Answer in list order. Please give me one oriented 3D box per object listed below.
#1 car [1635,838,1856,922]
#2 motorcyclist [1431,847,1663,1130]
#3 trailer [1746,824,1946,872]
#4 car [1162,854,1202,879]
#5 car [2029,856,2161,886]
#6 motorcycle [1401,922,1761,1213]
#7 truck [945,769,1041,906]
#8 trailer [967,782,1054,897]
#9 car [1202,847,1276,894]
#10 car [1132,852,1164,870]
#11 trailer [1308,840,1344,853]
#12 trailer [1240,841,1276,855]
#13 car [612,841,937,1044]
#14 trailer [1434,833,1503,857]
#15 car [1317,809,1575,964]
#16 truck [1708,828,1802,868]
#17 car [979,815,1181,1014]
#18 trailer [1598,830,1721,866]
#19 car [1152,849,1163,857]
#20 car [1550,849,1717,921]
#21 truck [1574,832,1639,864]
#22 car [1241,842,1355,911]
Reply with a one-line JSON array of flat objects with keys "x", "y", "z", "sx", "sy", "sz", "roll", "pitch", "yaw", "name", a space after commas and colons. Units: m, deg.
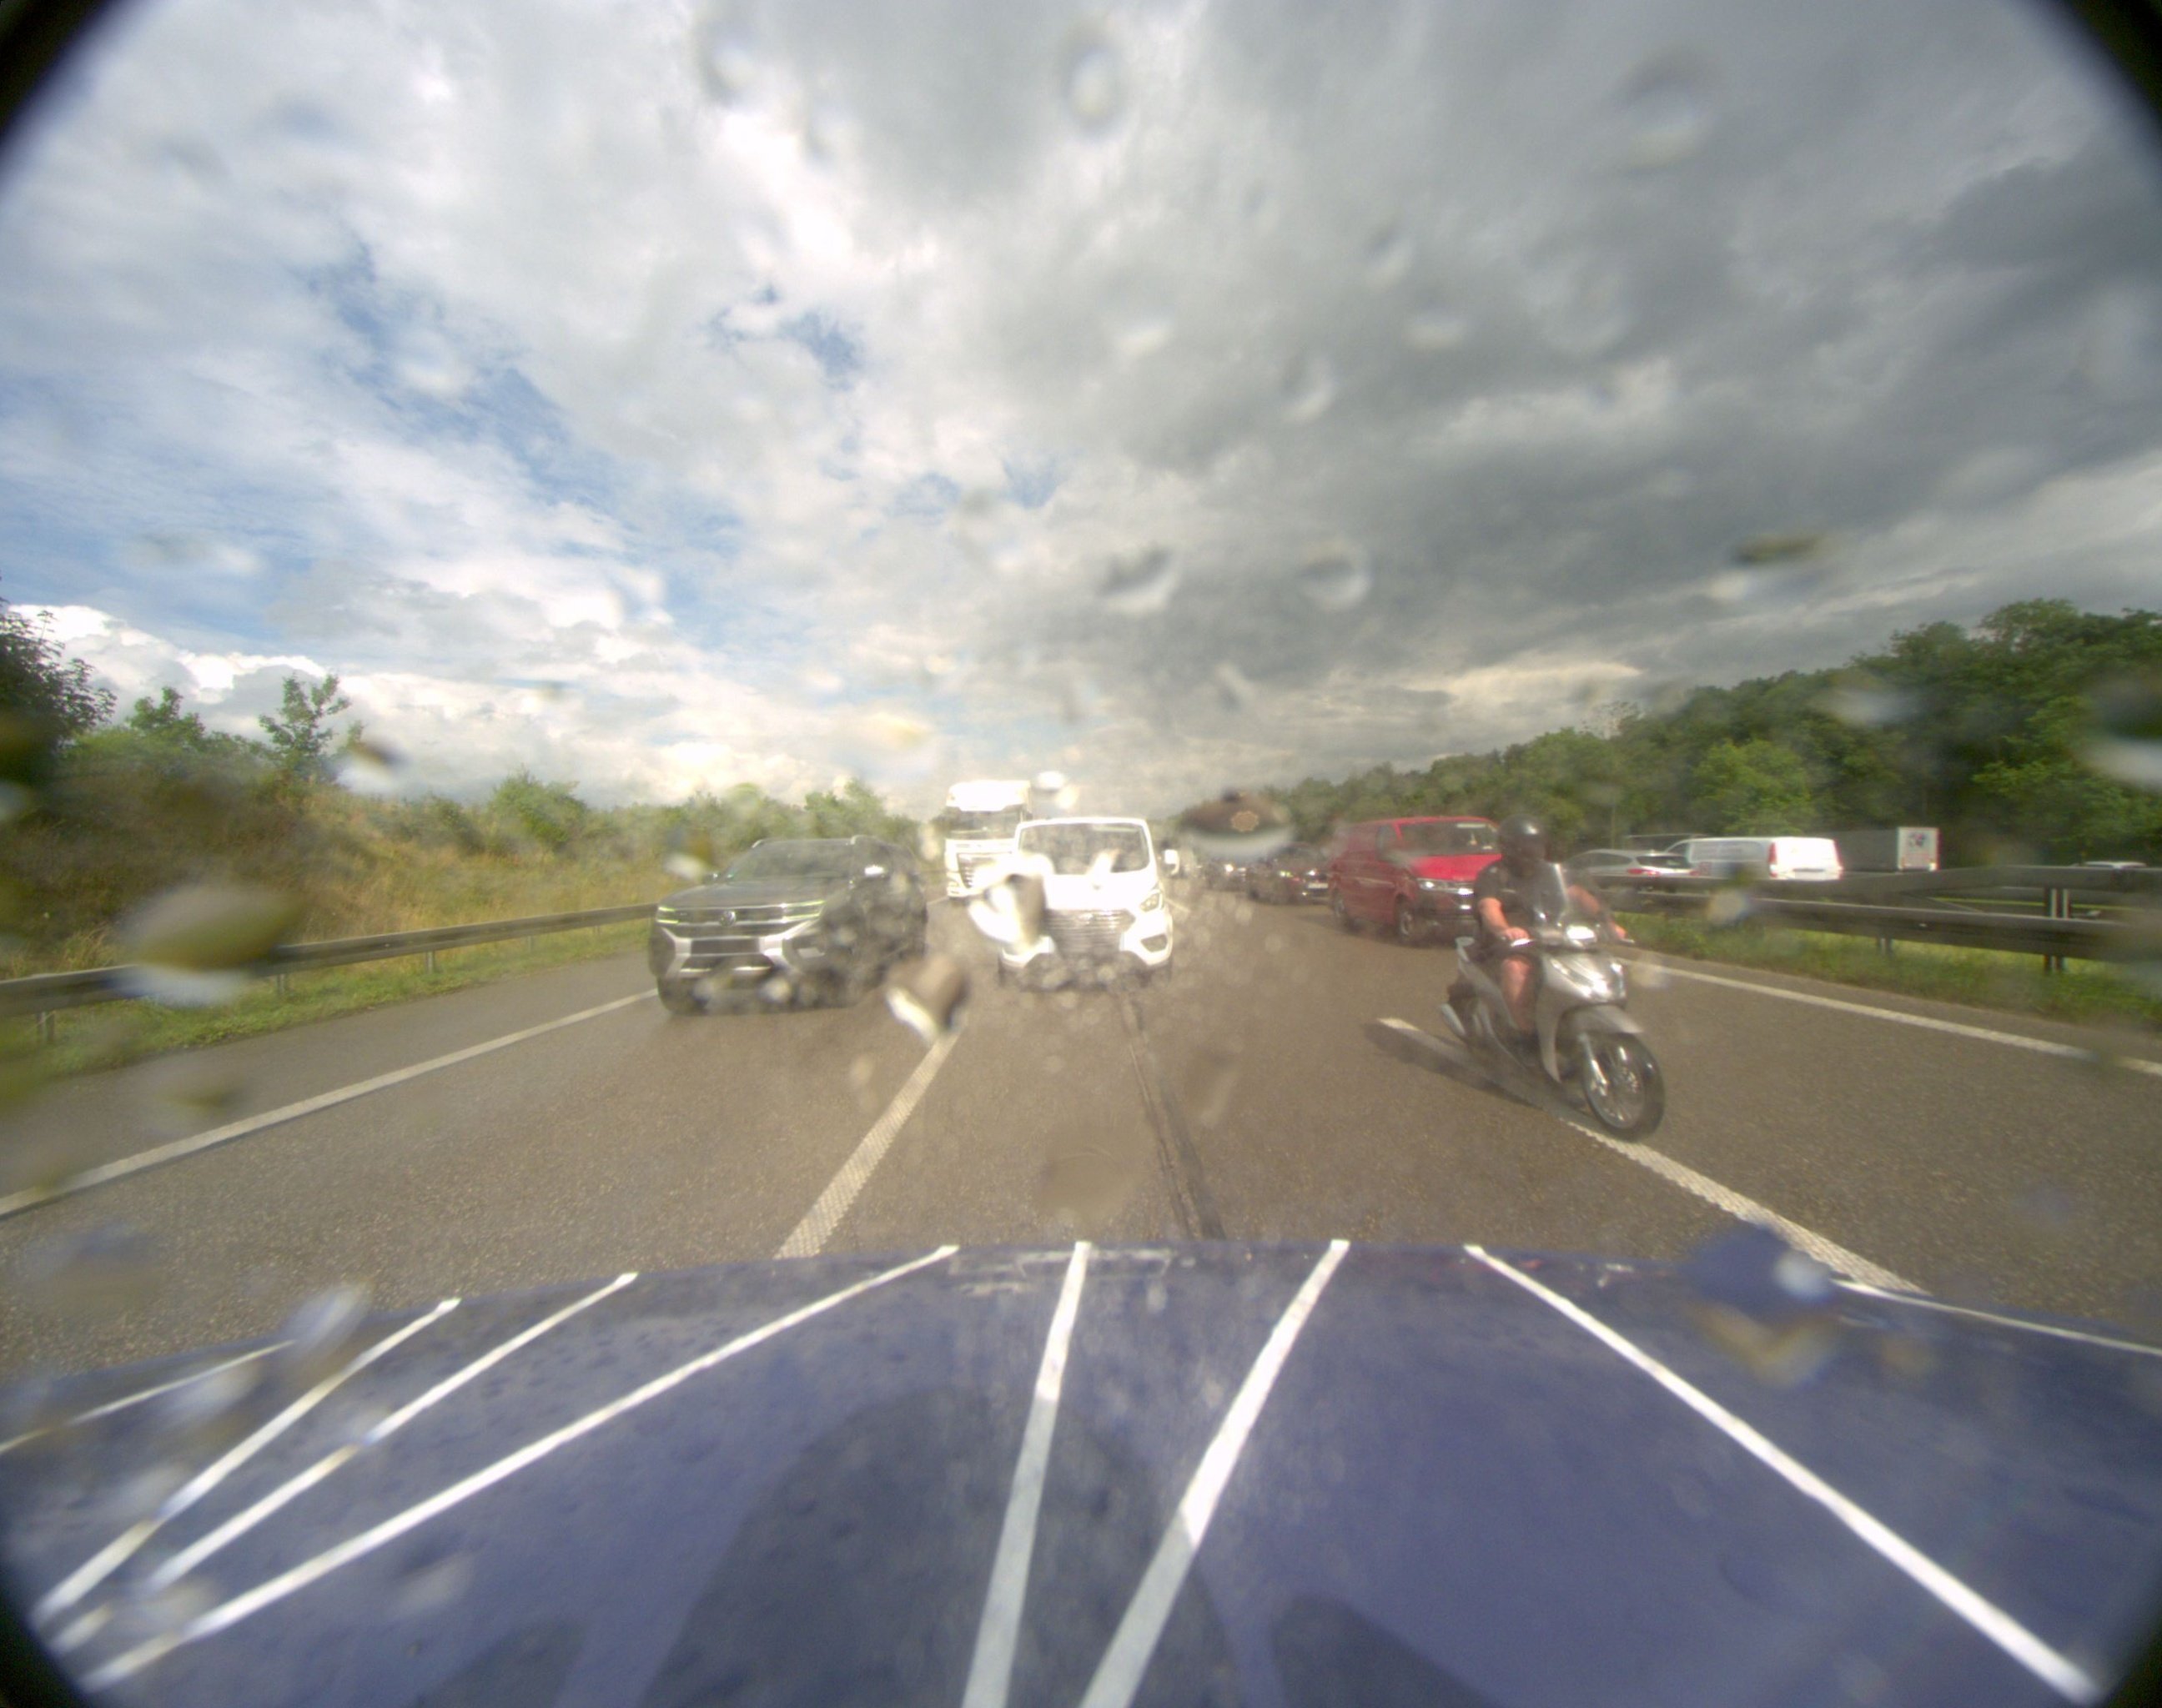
[{"x": 18.098, "y": 0.601, "z": 21.086, "sx": 1.998, "sy": 2.002, "sz": 4.730, "roll": -2, "pitch": 1, "yaw": 0, "name": "car"}, {"x": 2.631, "y": 0.687, "z": 4.412, "sx": 0.672, "sy": 1.434, "sz": 1.019, "roll": -2, "pitch": 1, "yaw": -2, "name": "motorcyclist"}, {"x": 56.183, "y": -0.442, "z": 56.617, "sx": 3.026, "sy": 3.174, "sz": 12.175, "roll": 0, "pitch": 0, "yaw": 2, "name": "trailer"}, {"x": 5.540, "y": 0.657, "z": 42.009, "sx": 1.675, "sy": 1.228, "sz": 4.000, "roll": -2, "pitch": 0, "yaw": 0, "name": "car"}, {"x": 54.709, "y": 0.896, "z": 41.130, "sx": 1.899, "sy": 1.494, "sz": 4.001, "roll": 0, "pitch": 0, "yaw": 5, "name": "car"}, {"x": 2.648, "y": 1.036, "z": 4.371, "sx": 0.678, "sy": 1.080, "sz": 1.981, "roll": -2, "pitch": 1, "yaw": -2, "name": "motorcycle"}, {"x": -2.813, "y": -0.502, "z": 25.837, "sx": 2.460, "sy": 4.080, "sz": 5.332, "roll": -2, "pitch": 0, "yaw": 0, "name": "truck"}, {"x": -2.762, "y": -0.589, "z": 33.592, "sx": 2.451, "sy": 4.095, "sz": 12.214, "roll": -2, "pitch": 1, "yaw": 0, "name": "trailer"}, {"x": 5.772, "y": 0.562, "z": 28.205, "sx": 1.895, "sy": 1.558, "sz": 4.053, "roll": -2, "pitch": 1, "yaw": 0, "name": "car"}, {"x": 4.861, "y": 0.490, "z": 55.349, "sx": 1.888, "sy": 1.228, "sz": 4.506, "roll": -2, "pitch": 0, "yaw": 0, "name": "car"}, {"x": 49.881, "y": -1.551, "z": 155.090, "sx": 2.537, "sy": 2.559, "sz": 9.869, "roll": -2, "pitch": 1, "yaw": -11, "name": "trailer"}, {"x": 42.927, "y": -1.480, "z": 185.187, "sx": 2.707, "sy": 3.492, "sz": 13.404, "roll": 0, "pitch": 1, "yaw": -14, "name": "trailer"}, {"x": -3.266, "y": 0.786, "z": 9.501, "sx": 1.831, "sy": 1.793, "sz": 5.305, "roll": -1, "pitch": 0, "yaw": 0, "name": "car"}, {"x": 55.625, "y": -1.216, "z": 109.681, "sx": 3.193, "sy": 3.253, "sz": 12.644, "roll": 0, "pitch": 1, "yaw": -2, "name": "trailer"}, {"x": 5.541, "y": 0.418, "z": 12.374, "sx": 1.895, "sy": 1.973, "sz": 4.750, "roll": -2, "pitch": 0, "yaw": 0, "name": "car"}, {"x": 56.548, "y": -0.491, "z": 63.905, "sx": 3.049, "sy": 3.165, "sz": 5.597, "roll": 0, "pitch": 1, "yaw": 2, "name": "truck"}, {"x": 0.006, "y": 0.607, "z": 10.328, "sx": 1.985, "sy": 1.973, "sz": 5.168, "roll": -2, "pitch": 0, "yaw": 0, "name": "car"}, {"x": 56.639, "y": -0.609, "z": 75.058, "sx": 2.611, "sy": 3.253, "sz": 12.647, "roll": 0, "pitch": 1, "yaw": 0, "name": "trailer"}, {"x": 18.424, "y": -0.206, "z": 183.634, "sx": 1.999, "sy": 2.002, "sz": 3.998, "roll": 0, "pitch": 0, "yaw": -4, "name": "car"}, {"x": 14.161, "y": 0.716, "z": 19.755, "sx": 1.537, "sy": 1.597, "sz": 3.781, "roll": -2, "pitch": 1, "yaw": -1, "name": "car"}, {"x": 56.675, "y": -0.676, "z": 82.148, "sx": 2.582, "sy": 3.232, "sz": 6.535, "roll": 0, "pitch": 1, "yaw": 0, "name": "truck"}, {"x": 5.799, "y": 0.531, "z": 20.905, "sx": 1.895, "sy": 1.660, "sz": 4.294, "roll": -2, "pitch": 1, "yaw": 0, "name": "car"}]
